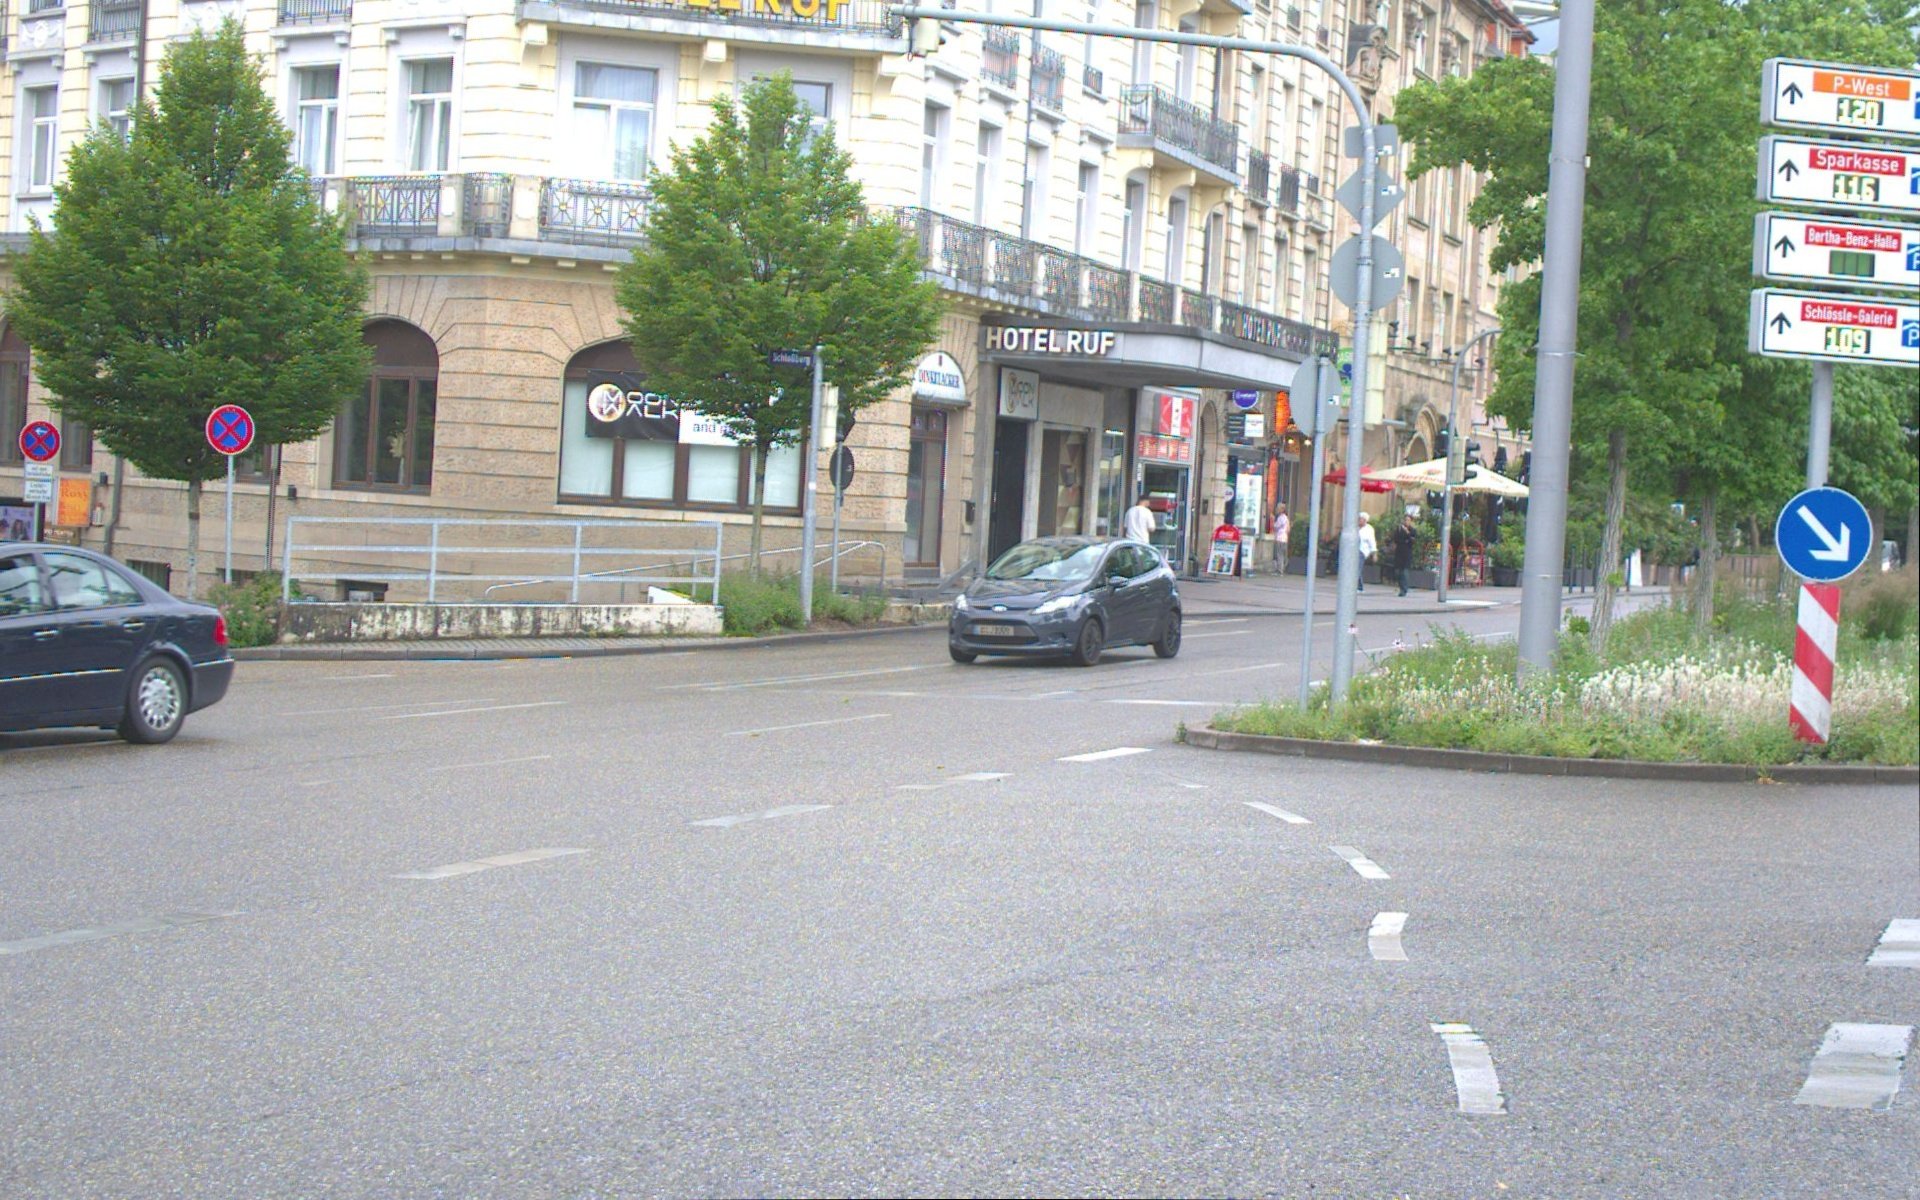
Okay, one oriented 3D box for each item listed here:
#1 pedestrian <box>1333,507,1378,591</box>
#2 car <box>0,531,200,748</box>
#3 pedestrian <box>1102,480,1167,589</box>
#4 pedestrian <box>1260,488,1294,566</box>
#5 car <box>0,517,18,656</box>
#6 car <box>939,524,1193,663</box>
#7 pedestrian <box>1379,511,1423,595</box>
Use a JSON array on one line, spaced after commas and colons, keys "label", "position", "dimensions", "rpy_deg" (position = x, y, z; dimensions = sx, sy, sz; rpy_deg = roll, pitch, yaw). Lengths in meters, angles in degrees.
[{"label": "pedestrian", "position": [7.934, -1.020, 68.969], "dimensions": [0.682, 1.658, 0.806], "rpy_deg": [1, 1, 22]}, {"label": "car", "position": [-7.128, 0.243, 22.958], "dimensions": [1.958, 1.418, 3.994], "rpy_deg": [1, 1, 25]}, {"label": "pedestrian", "position": [2.919, -1.089, 57.451], "dimensions": [0.880, 1.806, 0.750], "rpy_deg": [1, 1, 19]}, {"label": "pedestrian", "position": [6.828, -1.567, 74.086], "dimensions": [0.667, 1.658, 0.536], "rpy_deg": [1, 1, 11]}, {"label": "car", "position": [-13.662, -0.237, 44.866], "dimensions": [1.629, 1.753, 4.000], "rpy_deg": [0, 2, -31]}, {"label": "car", "position": [1.281, -0.092, 39.812], "dimensions": [1.679, 1.507, 3.859], "rpy_deg": [1, 1, 22]}, {"label": "pedestrian", "position": [8.796, -0.931, 68.562], "dimensions": [0.682, 1.658, 0.806], "rpy_deg": [1, 1, 19]}]
